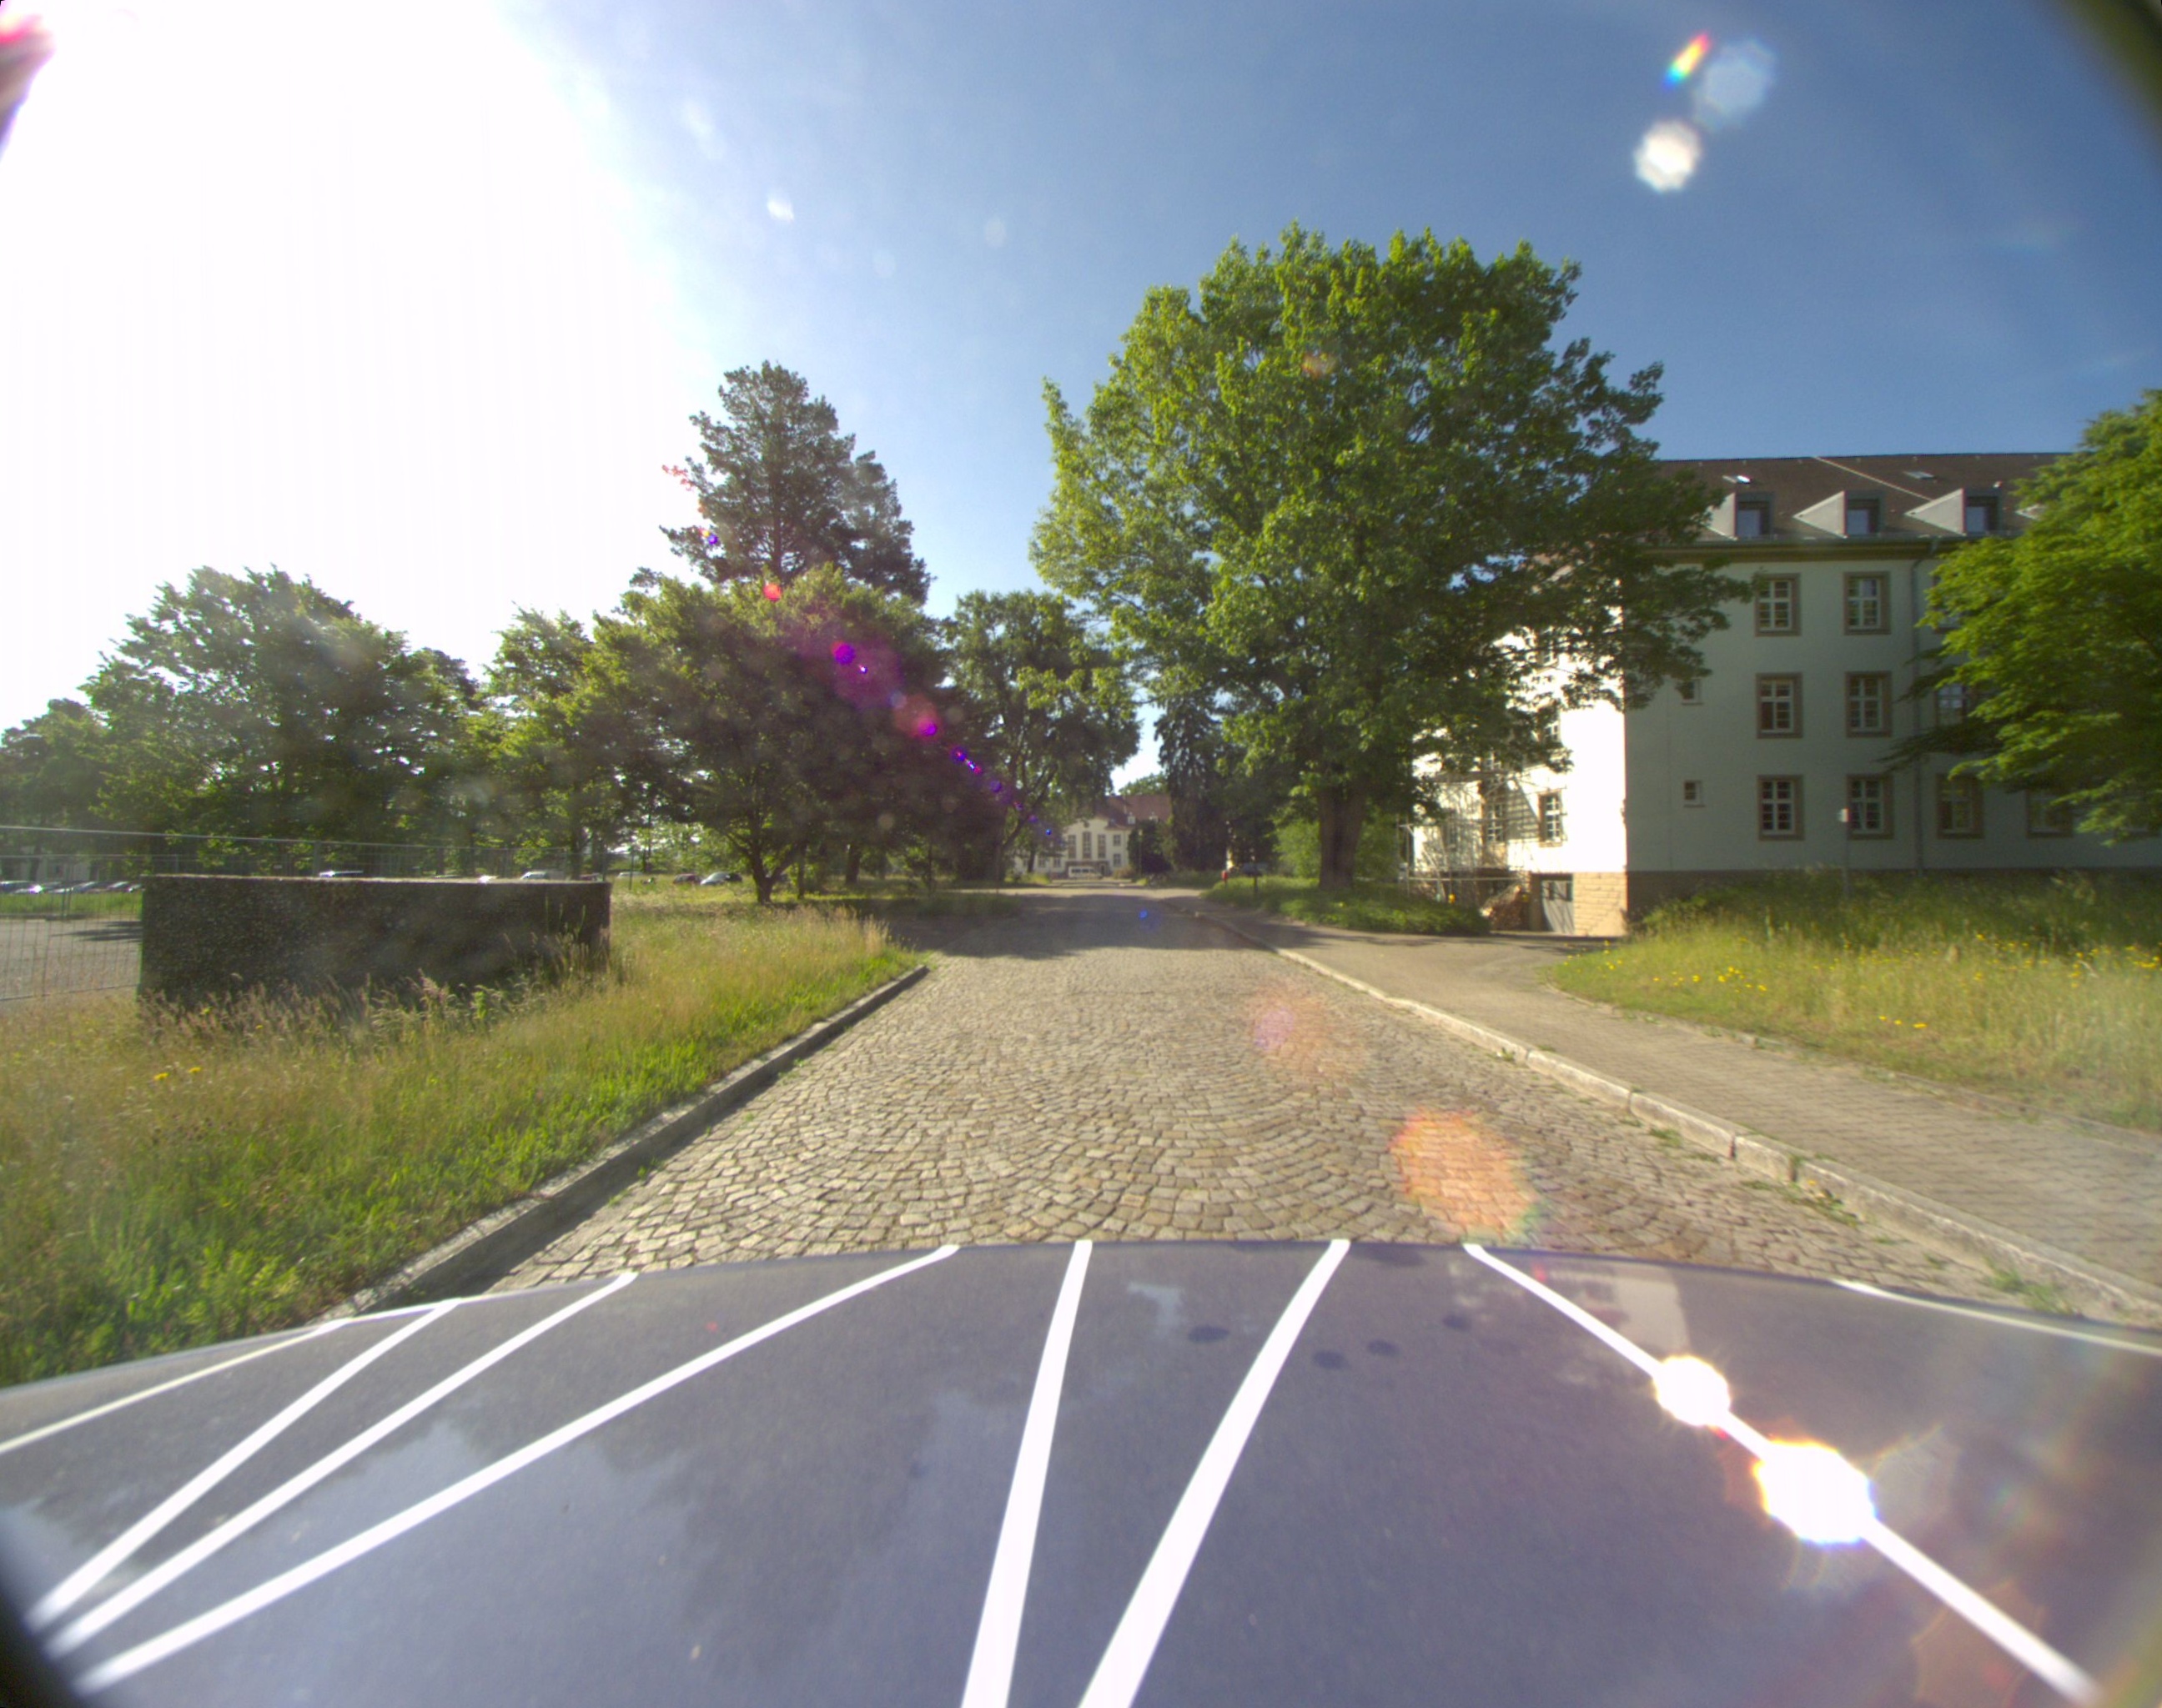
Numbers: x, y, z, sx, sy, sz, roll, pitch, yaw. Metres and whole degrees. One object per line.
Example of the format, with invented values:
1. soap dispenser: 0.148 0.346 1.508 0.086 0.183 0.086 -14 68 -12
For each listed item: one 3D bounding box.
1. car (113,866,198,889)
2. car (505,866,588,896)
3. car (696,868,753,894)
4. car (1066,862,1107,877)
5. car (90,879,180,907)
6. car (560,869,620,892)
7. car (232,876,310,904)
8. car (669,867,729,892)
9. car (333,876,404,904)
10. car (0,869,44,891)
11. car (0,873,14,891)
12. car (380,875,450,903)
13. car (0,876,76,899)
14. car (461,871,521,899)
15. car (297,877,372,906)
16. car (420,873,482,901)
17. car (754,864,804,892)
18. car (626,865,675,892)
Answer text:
1. car: -70.352 1.787 57.841 1.741 1.648 3.852 0 -1 2
2. car: -41.233 2.039 58.803 1.998 2.002 6.033 -2 1 1
3. car: -27.060 2.021 57.854 2.245 1.828 4.350 0 -1 1
4. car: 0.844 2.461 121.237 6.445 2.451 2.464 0 0 1
5. car: -72.819 2.974 58.577 1.999 2.001 4.000 -1 -1 -1
6. car: -37.455 1.969 58.093 1.999 1.641 4.000 0 -1 0
7. car: -61.783 2.713 58.023 1.741 2.001 3.852 0 -1 2
8. car: -29.420 1.923 58.681 2.245 1.828 4.351 0 -1 4
9. car: -54.011 2.711 57.692 1.741 2.001 3.851 0 -1 0
10. car: -85.262 2.030 59.740 1.998 1.691 4.001 -1 -1 1
11. car: -88.015 2.246 59.919 1.998 1.466 4.001 -1 -1 1
12. car: -51.721 2.709 59.095 1.999 2.001 4.000 -1 -1 -1
13. car: -79.795 2.527 57.573 1.999 1.675 4.000 -1 -1 0
14. car: -45.001 2.358 58.053 1.741 2.001 3.620 0 -1 0
15. car: -56.467 2.807 57.568 1.741 2.001 3.852 0 -1 2
16. car: -47.806 2.469 57.732 1.741 2.001 3.620 0 -1 0
17. car: -22.788 1.773 57.583 2.246 2.001 4.348 0 -1 -3
18. car: -33.335 1.899 58.974 1.741 2.001 3.620 0 -1 0
